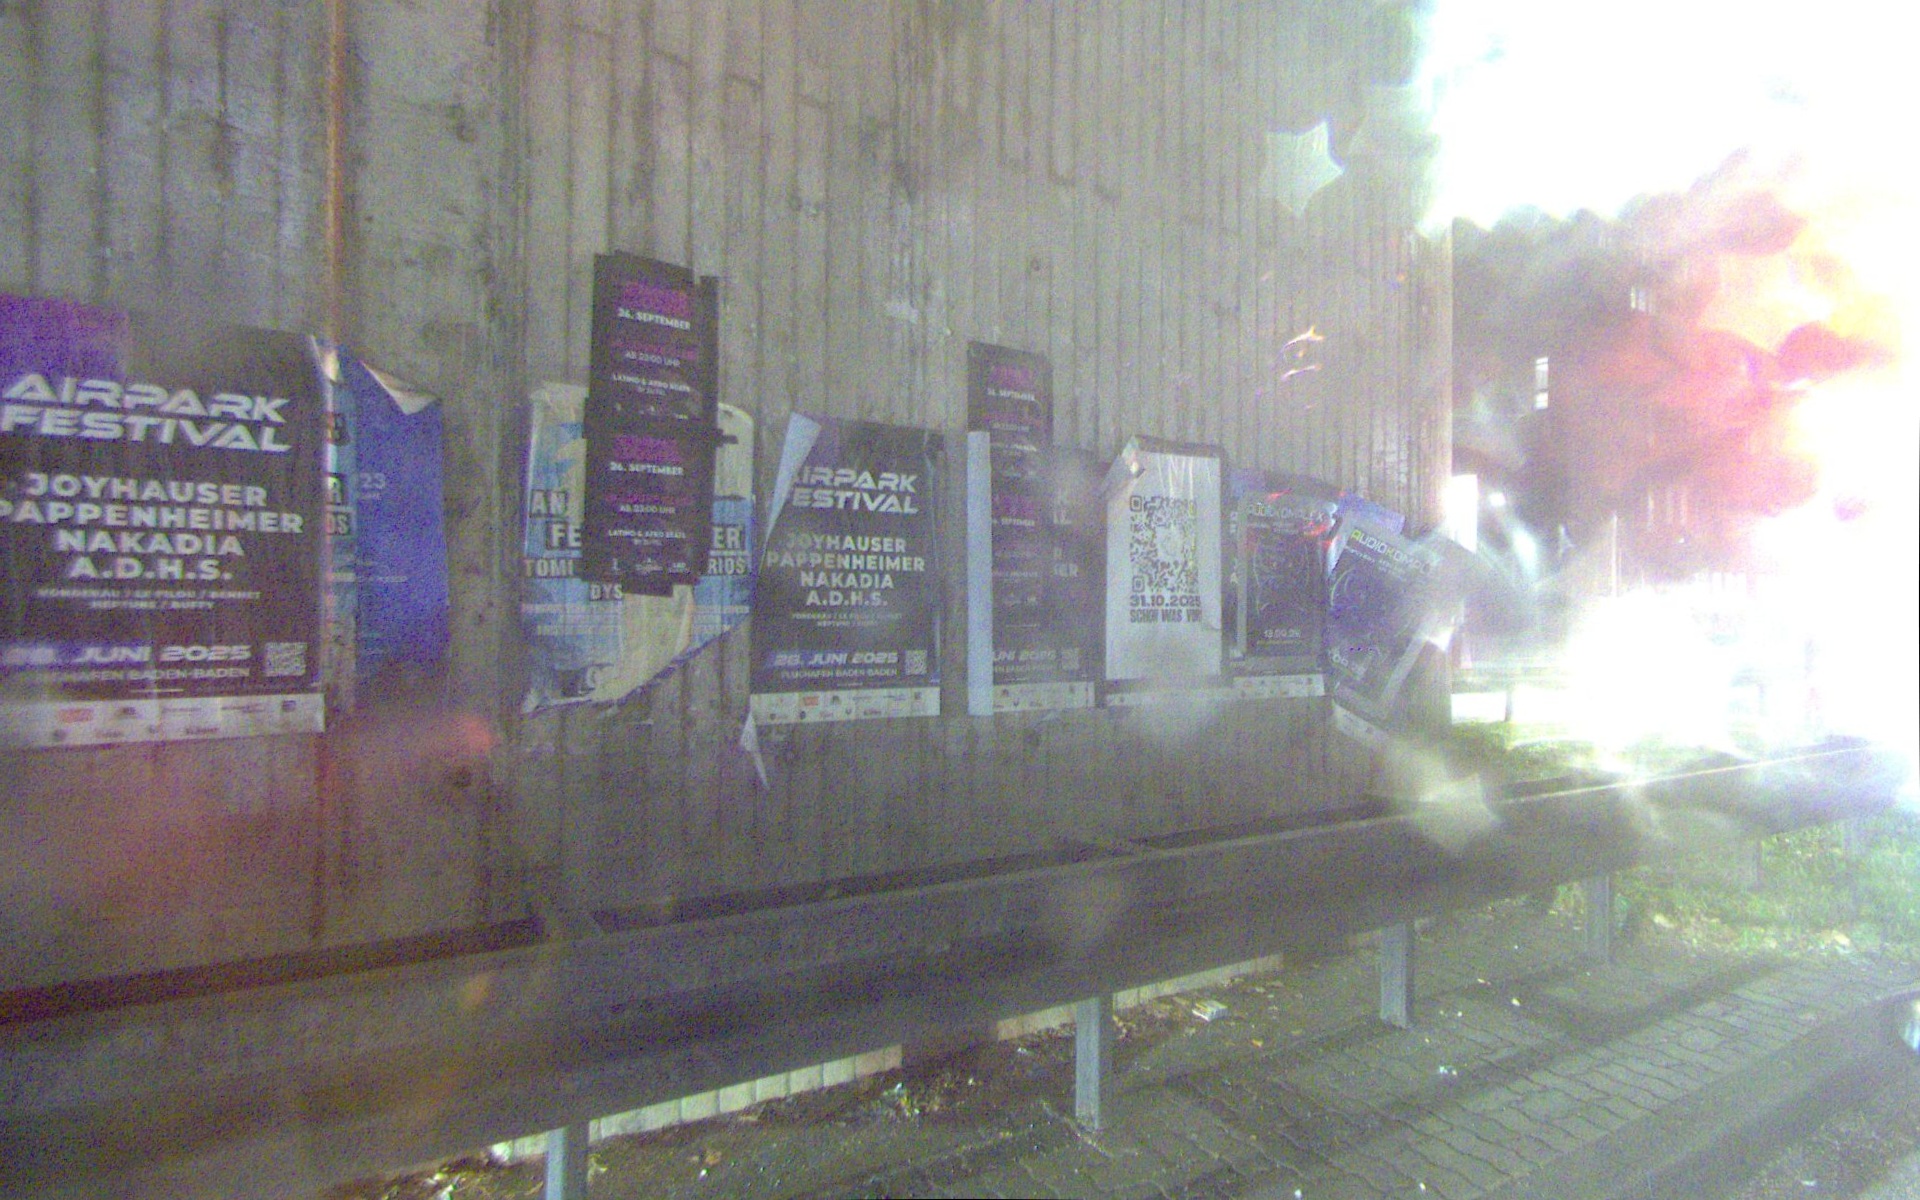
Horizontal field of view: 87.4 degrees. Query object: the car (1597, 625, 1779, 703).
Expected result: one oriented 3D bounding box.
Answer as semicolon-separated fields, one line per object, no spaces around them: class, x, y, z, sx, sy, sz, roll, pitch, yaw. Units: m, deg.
car;16.314;1.385;22.473;4.280;1.590;1.762;2;-2;-30
